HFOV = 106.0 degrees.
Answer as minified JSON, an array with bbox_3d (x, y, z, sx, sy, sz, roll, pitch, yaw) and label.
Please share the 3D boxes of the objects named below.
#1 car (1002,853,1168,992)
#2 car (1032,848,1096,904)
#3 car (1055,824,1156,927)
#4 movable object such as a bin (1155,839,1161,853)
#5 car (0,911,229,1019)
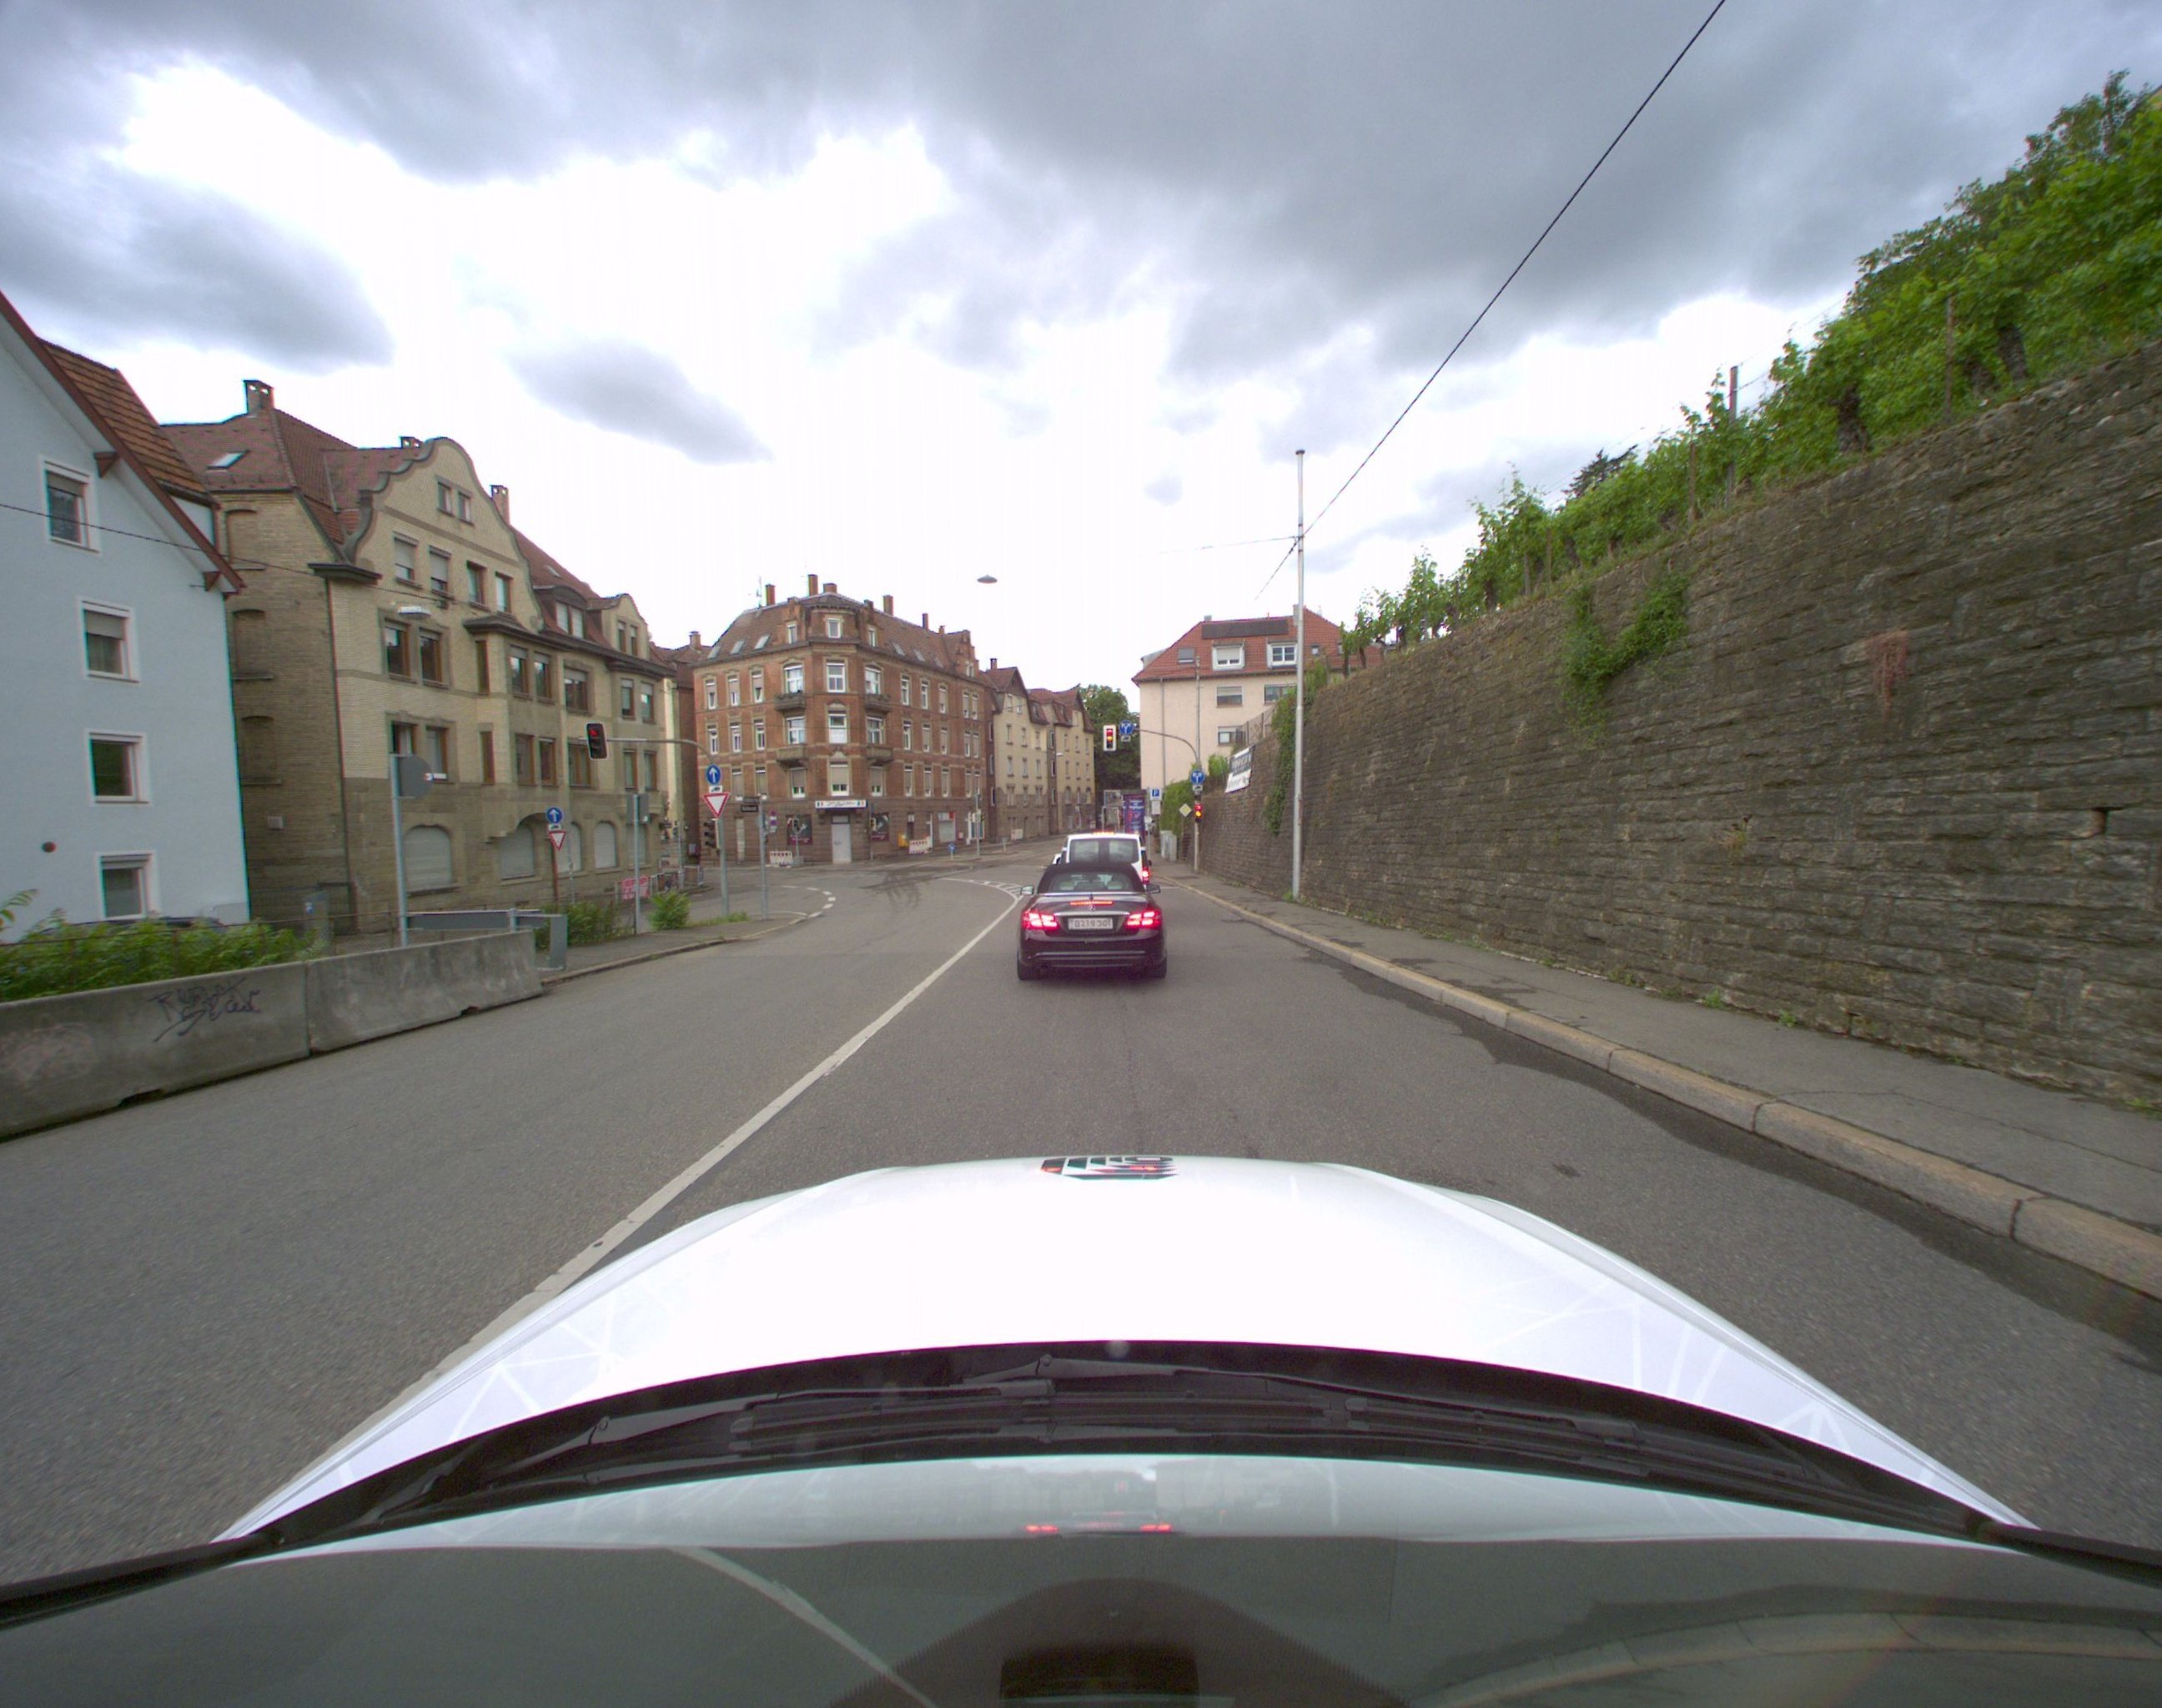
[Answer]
[{"bbox_3d":[0.111,0.740,11.017,1.755,1.409,4.401,-2,1,2],"label":"car"},{"bbox_3d":[-0.436,0.599,24.320,1.674,1.466,3.920,-2,1,2],"label":"car"},{"bbox_3d":[0.543,0.383,18.068,1.884,1.928,4.647,-2,1,2],"label":"car"},{"bbox_3d":[5.103,-0.519,53.871,0.343,0.911,0.494,-1,1,-4],"label":"movable object such as a bin"},{"bbox_3d":[-19.312,2.079,15.446,1.676,1.555,4.235,-4,1,1],"label":"car"}]
